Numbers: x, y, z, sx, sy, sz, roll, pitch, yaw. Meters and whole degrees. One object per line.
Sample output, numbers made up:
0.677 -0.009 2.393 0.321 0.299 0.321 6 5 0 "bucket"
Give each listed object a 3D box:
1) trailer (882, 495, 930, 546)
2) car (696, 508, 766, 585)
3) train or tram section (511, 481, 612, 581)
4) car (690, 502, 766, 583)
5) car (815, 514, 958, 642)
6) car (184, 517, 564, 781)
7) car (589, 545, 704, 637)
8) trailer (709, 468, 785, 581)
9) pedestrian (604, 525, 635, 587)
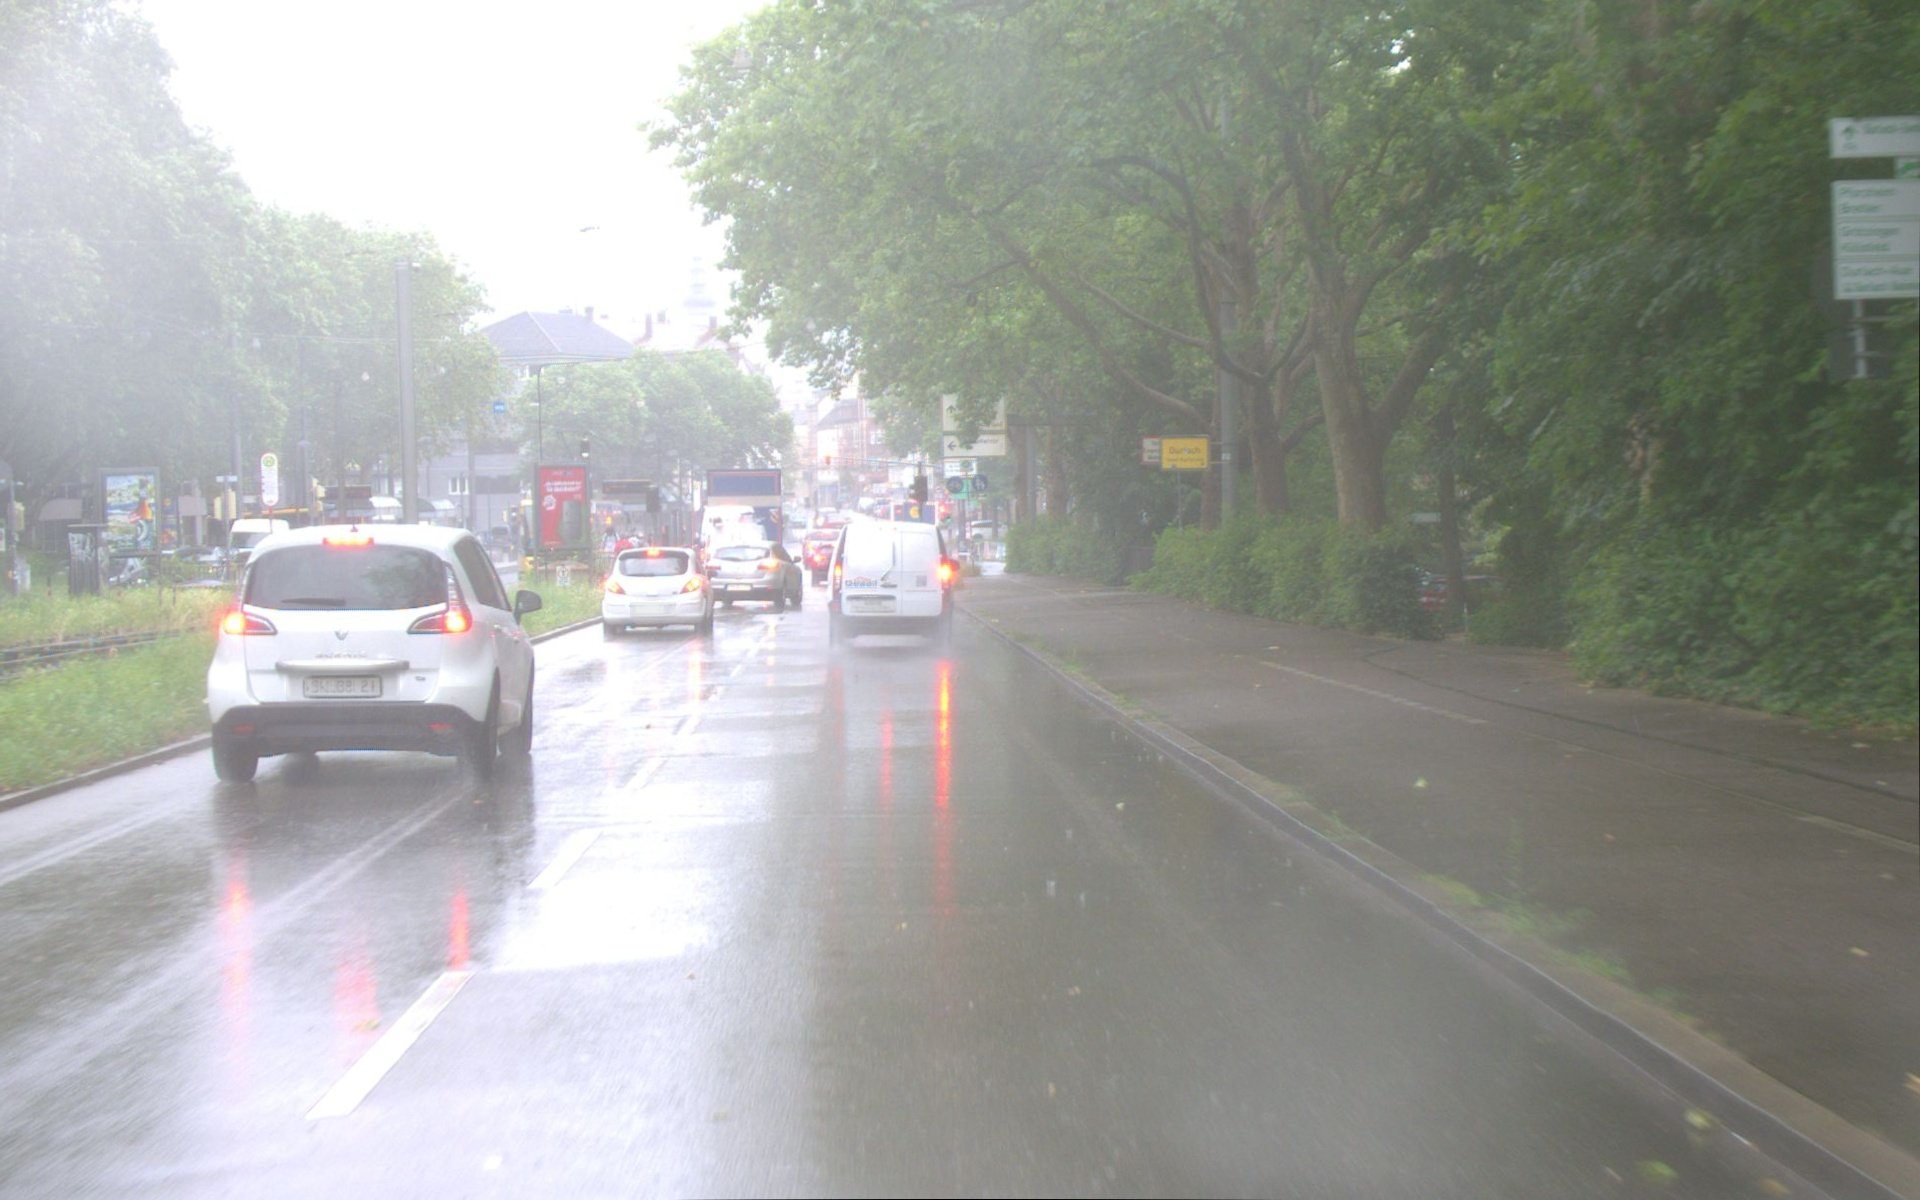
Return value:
-2.520 -3.679 159.788 1.993 2.309 4.669 0 0 -4 "trailer"
-6.890 -1.580 104.000 1.993 2.254 5.289 0 0 -2 "car"
-13.858 -2.469 120.155 2.961 3.274 8.362 -2 2 -3 "train or tram section"
-7.562 -1.851 112.610 2.329 2.548 6.115 0 0 -2 "car"
-1.094 -0.310 49.589 1.959 1.771 3.570 0 0 -3 "car"
-3.846 0.277 23.256 1.864 1.618 4.263 0 1 0 "car"
-5.163 -0.153 56.958 1.725 1.474 3.806 0 0 -3 "car"
-7.567 -2.672 121.767 2.590 3.886 7.637 0 1 -4 "trailer"
-9.516 -1.235 96.208 0.790 1.708 0.771 1 0 -3 "pedestrian"
